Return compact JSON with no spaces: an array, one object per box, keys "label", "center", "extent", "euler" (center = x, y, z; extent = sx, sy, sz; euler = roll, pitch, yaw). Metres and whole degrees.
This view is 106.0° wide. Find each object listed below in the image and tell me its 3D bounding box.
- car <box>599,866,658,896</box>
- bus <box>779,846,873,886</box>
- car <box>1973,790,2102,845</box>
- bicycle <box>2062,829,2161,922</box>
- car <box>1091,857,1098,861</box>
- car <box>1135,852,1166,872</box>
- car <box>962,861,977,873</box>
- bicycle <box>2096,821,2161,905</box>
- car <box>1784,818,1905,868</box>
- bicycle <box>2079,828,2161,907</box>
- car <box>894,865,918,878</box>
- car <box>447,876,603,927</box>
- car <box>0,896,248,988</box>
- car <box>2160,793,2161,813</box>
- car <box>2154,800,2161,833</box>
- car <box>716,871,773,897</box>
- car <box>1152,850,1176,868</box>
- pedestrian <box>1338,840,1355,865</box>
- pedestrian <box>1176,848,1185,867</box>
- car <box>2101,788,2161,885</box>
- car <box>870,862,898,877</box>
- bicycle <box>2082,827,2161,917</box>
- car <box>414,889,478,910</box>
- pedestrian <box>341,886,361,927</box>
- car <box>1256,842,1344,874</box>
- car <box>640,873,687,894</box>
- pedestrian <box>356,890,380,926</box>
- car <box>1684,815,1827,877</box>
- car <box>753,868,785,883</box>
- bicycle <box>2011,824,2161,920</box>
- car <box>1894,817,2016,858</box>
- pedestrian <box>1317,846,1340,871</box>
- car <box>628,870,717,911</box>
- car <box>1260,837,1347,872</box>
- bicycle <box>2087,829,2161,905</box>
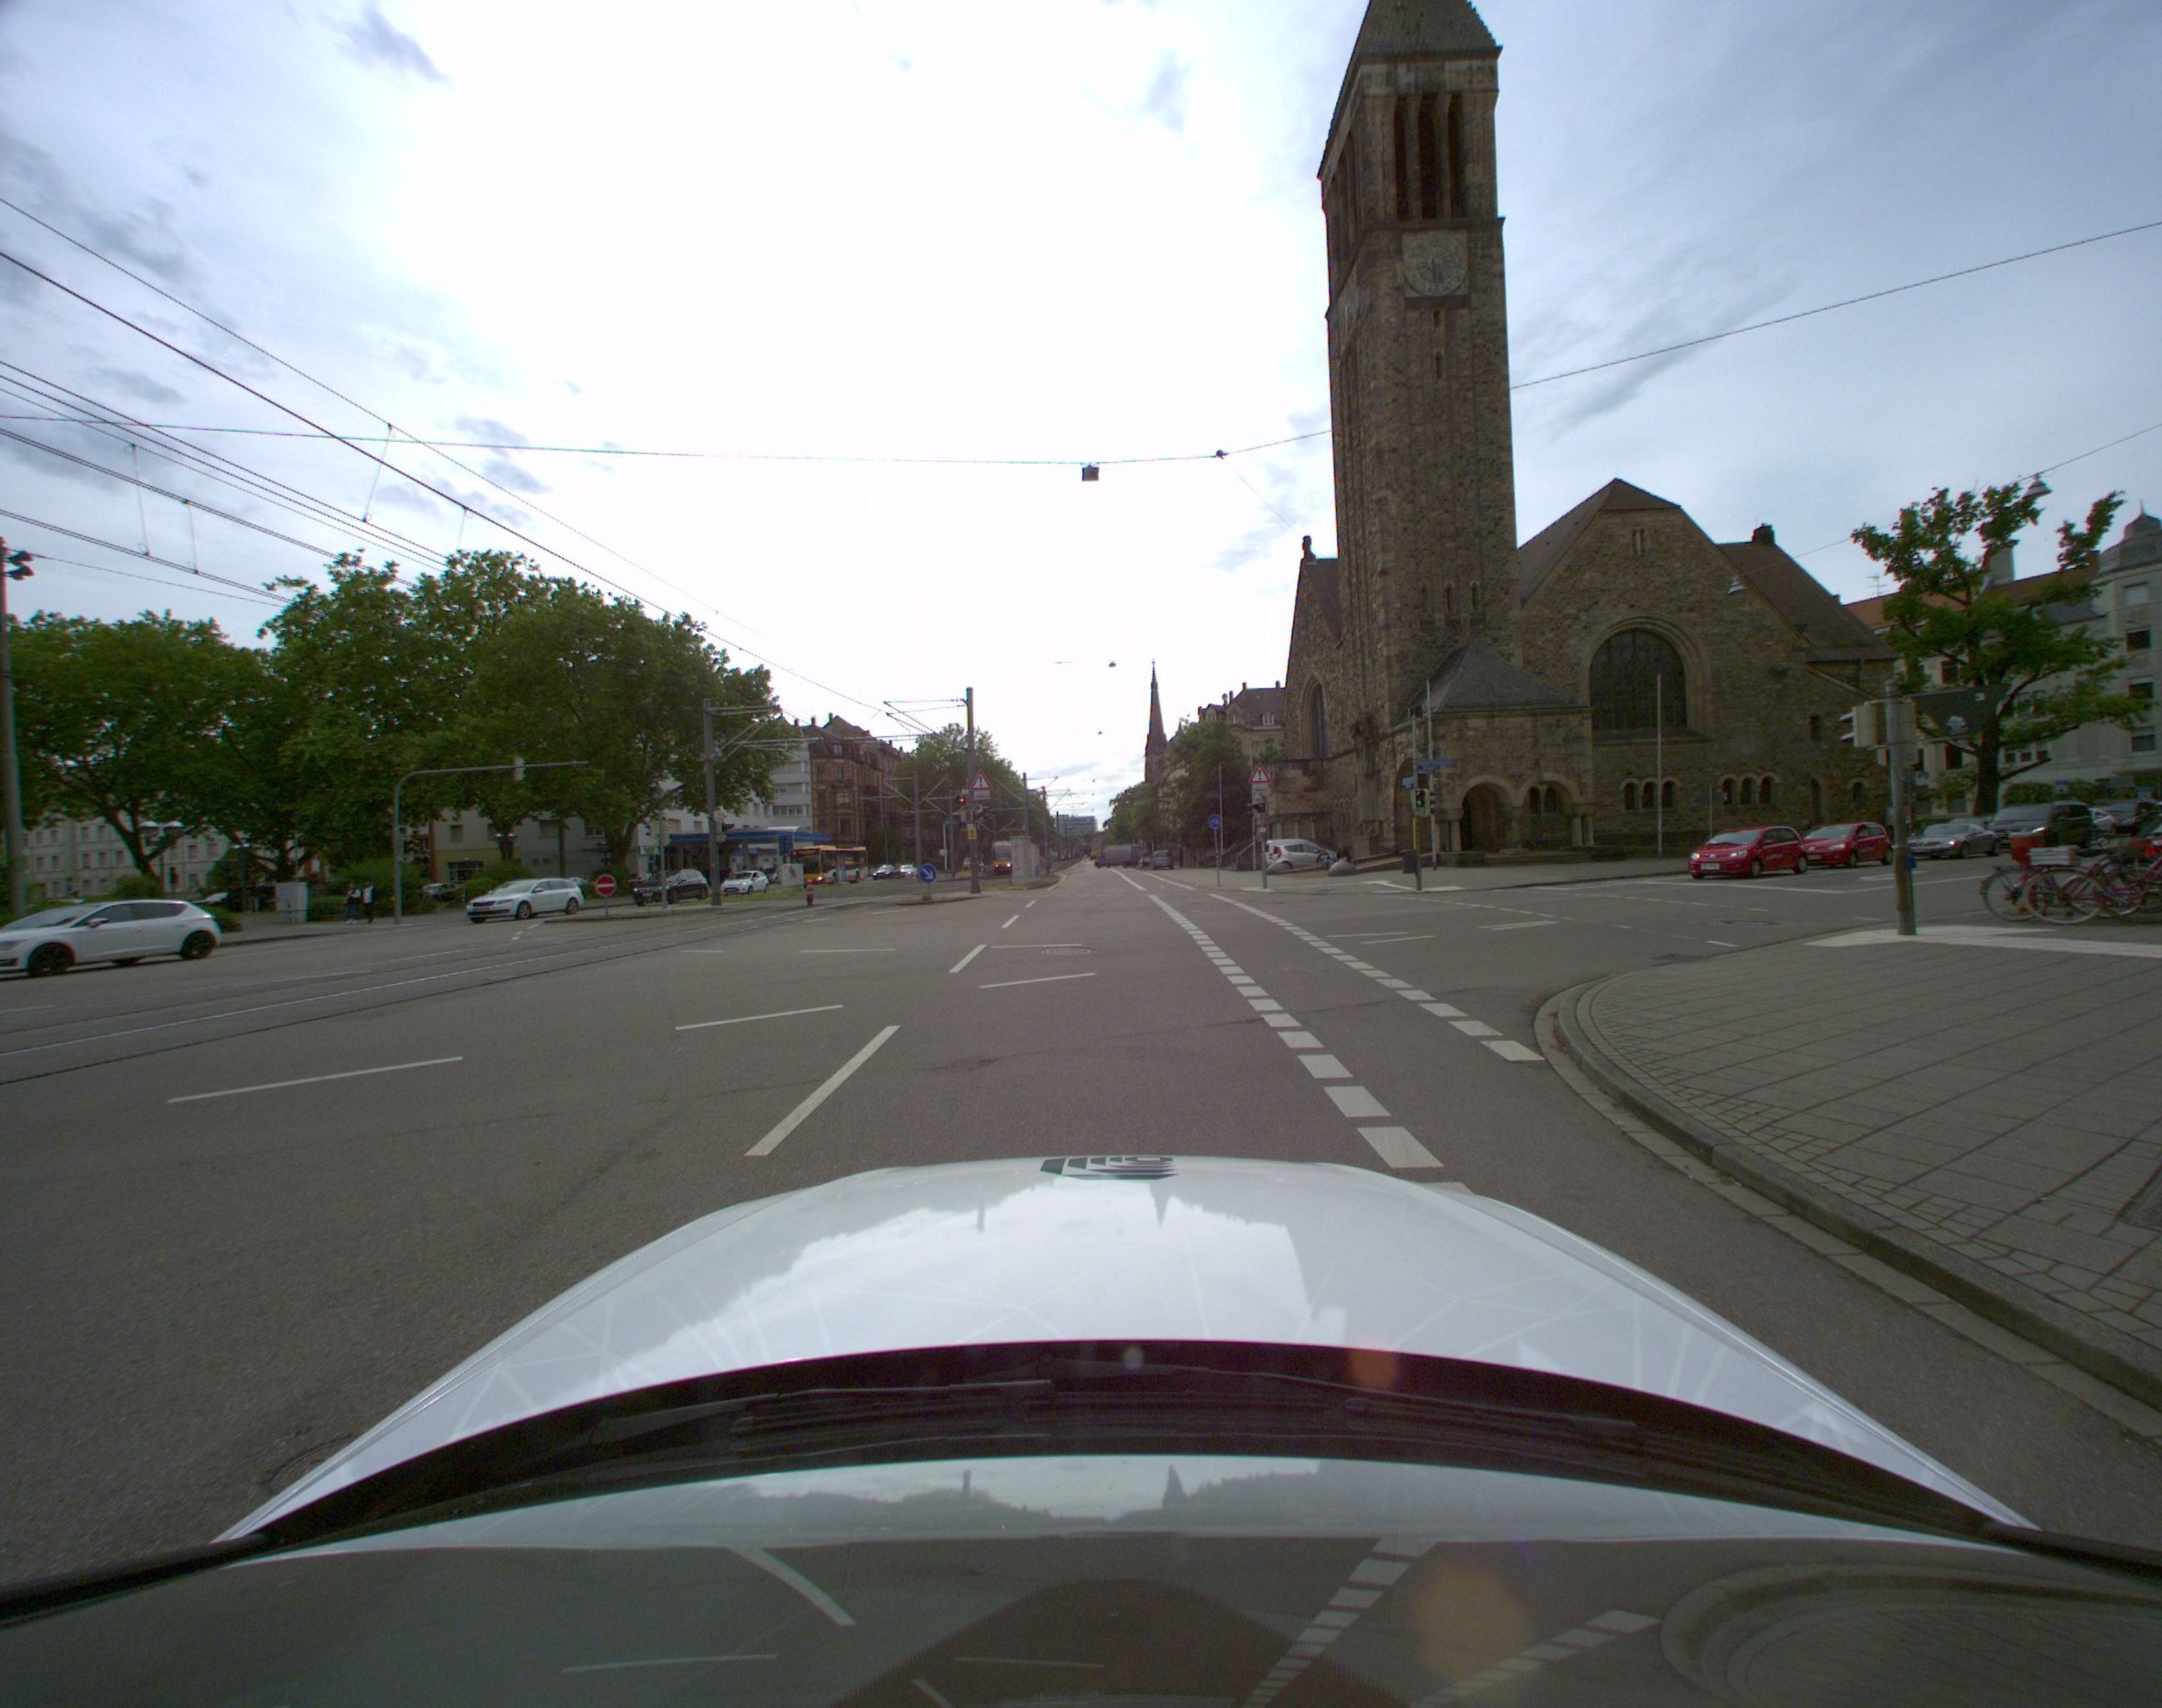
[{"label":"car","center":[-33.755,1.949,60.882],"extent":[1.987,2.013,4.000],"euler":[-3,0,1]},{"label":"bus","center":[-20.191,0.839,65.614],"extent":[3.269,2.856,12.384],"euler":[-1,0,1]},{"label":"car","center":[37.919,-1.437,32.279],"extent":[5.291,1.954,1.903],"euler":[-3,1,-24]},{"label":"bicycle","center":[13.391,0.254,10.007],"extent":[0.477,1.127,1.559],"euler":[-1,-4,-25]},{"label":"car","center":[4.241,1.596,256.910],"extent":[1.799,1.341,3.999],"euler":[-2,0,0]},{"label":"car","center":[6.780,0.778,79.638],"extent":[2.198,1.745,5.026],"euler":[-3,0,-4]},{"label":"car","center":[-17.692,2.053,128.823],"extent":[1.696,1.712,3.892],"euler":[-1,0,1]},{"label":"bicycle","center":[15.578,0.104,11.411],"extent":[0.477,1.172,1.559],"euler":[-1,-4,-25]},{"label":"car","center":[25.118,-0.366,26.800],"extent":[3.725,1.457,1.593],"euler":[-2,-2,-26]},{"label":"bicycle","center":[14.613,0.163,10.723],"extent":[0.477,1.039,1.724],"euler":[-1,-4,-25]},{"label":"car","center":[-19.095,1.893,89.036],"extent":[1.696,1.221,3.892],"euler":[-1,0,1]},{"label":"car","center":[-20.522,1.692,30.455],"extent":[1.834,1.525,5.703],"euler":[-1,0,1]},{"label":"car","center":[-20.783,1.753,17.172],"extent":[1.836,1.448,4.414],"euler":[-1,0,1]},{"label":"car","center":[24.323,-0.586,15.431],"extent":[4.170,1.682,1.928],"euler":[-4,-2,32]},{"label":"car","center":[66.243,-2.335,48.459],"extent":[4.552,1.939,1.835],"euler":[-3,1,-23]},{"label":"car","center":[-20.027,1.760,48.672],"extent":[1.696,1.398,3.892],"euler":[-1,0,1]},{"label":"car","center":[7.029,0.433,69.464],"extent":[1.696,1.459,3.892],"euler":[-1,0,1]},{"label":"pedestrian","center":[13.332,-0.069,40.857],"extent":[0.731,1.228,1.067],"euler":[-1,0,15]},{"label":"pedestrian","center":[8.828,0.290,72.396],"extent":[0.772,1.647,0.800],"euler":[-1,0,7]},{"label":"car","center":[19.352,-0.384,12.737],"extent":[3.790,1.561,1.804],"euler":[-3,-2,19]},{"label":"car","center":[-19.658,1.503,81.283],"extent":[1.696,1.358,3.892],"euler":[-1,0,1]},{"label":"bicycle","center":[13.875,0.212,10.195],"extent":[0.477,1.127,1.559],"euler":[-1,-4,-25]},{"label":"car","center":[-48.379,3.445,62.135],"extent":[1.696,1.358,3.892],"euler":[-1,0,1]},{"label":"pedestrian","center":[-27.292,1.964,30.442],"extent":[0.360,1.478,0.373],"euler":[-2,0,-6]},{"label":"car","center":[11.844,0.209,44.140],"extent":[4.334,1.636,1.662],"euler":[-1,0,0]},{"label":"car","center":[-31.002,2.166,60.575],"extent":[1.696,1.358,3.405],"euler":[-1,0,1]},{"label":"pedestrian","center":[-26.850,2.021,30.657],"extent":[0.454,1.326,0.469],"euler":[-2,0,-6]},{"label":"car","center":[19.929,-0.242,24.049],"extent":[3.899,1.528,1.641],"euler":[-3,-2,-24]},{"label":"car","center":[-30.248,2.099,79.160],"extent":[1.696,1.358,3.405],"euler":[-1,0,1]},{"label":"bicycle","center":[12.768,0.233,10.049],"extent":[0.477,1.127,1.559],"euler":[-1,-4,-25]},{"label":"car","center":[31.656,-0.594,29.499],"extent":[4.047,1.287,1.696],"euler":[-2,-2,-24]},{"label":"pedestrian","center":[12.352,0.228,40.694],"extent":[0.734,1.191,1.493],"euler":[-1,0,1]},{"label":"car","center":[-20.125,1.734,40.386],"extent":[1.696,1.783,5.151],"euler":[-1,0,1]},{"label":"car","center":[12.930,0.019,47.538],"extent":[4.595,1.881,1.662],"euler":[-1,0,0]},{"label":"bicycle","center":[15.164,0.153,11.080],"extent":[0.477,1.039,1.724],"euler":[-1,-4,-25]}]
